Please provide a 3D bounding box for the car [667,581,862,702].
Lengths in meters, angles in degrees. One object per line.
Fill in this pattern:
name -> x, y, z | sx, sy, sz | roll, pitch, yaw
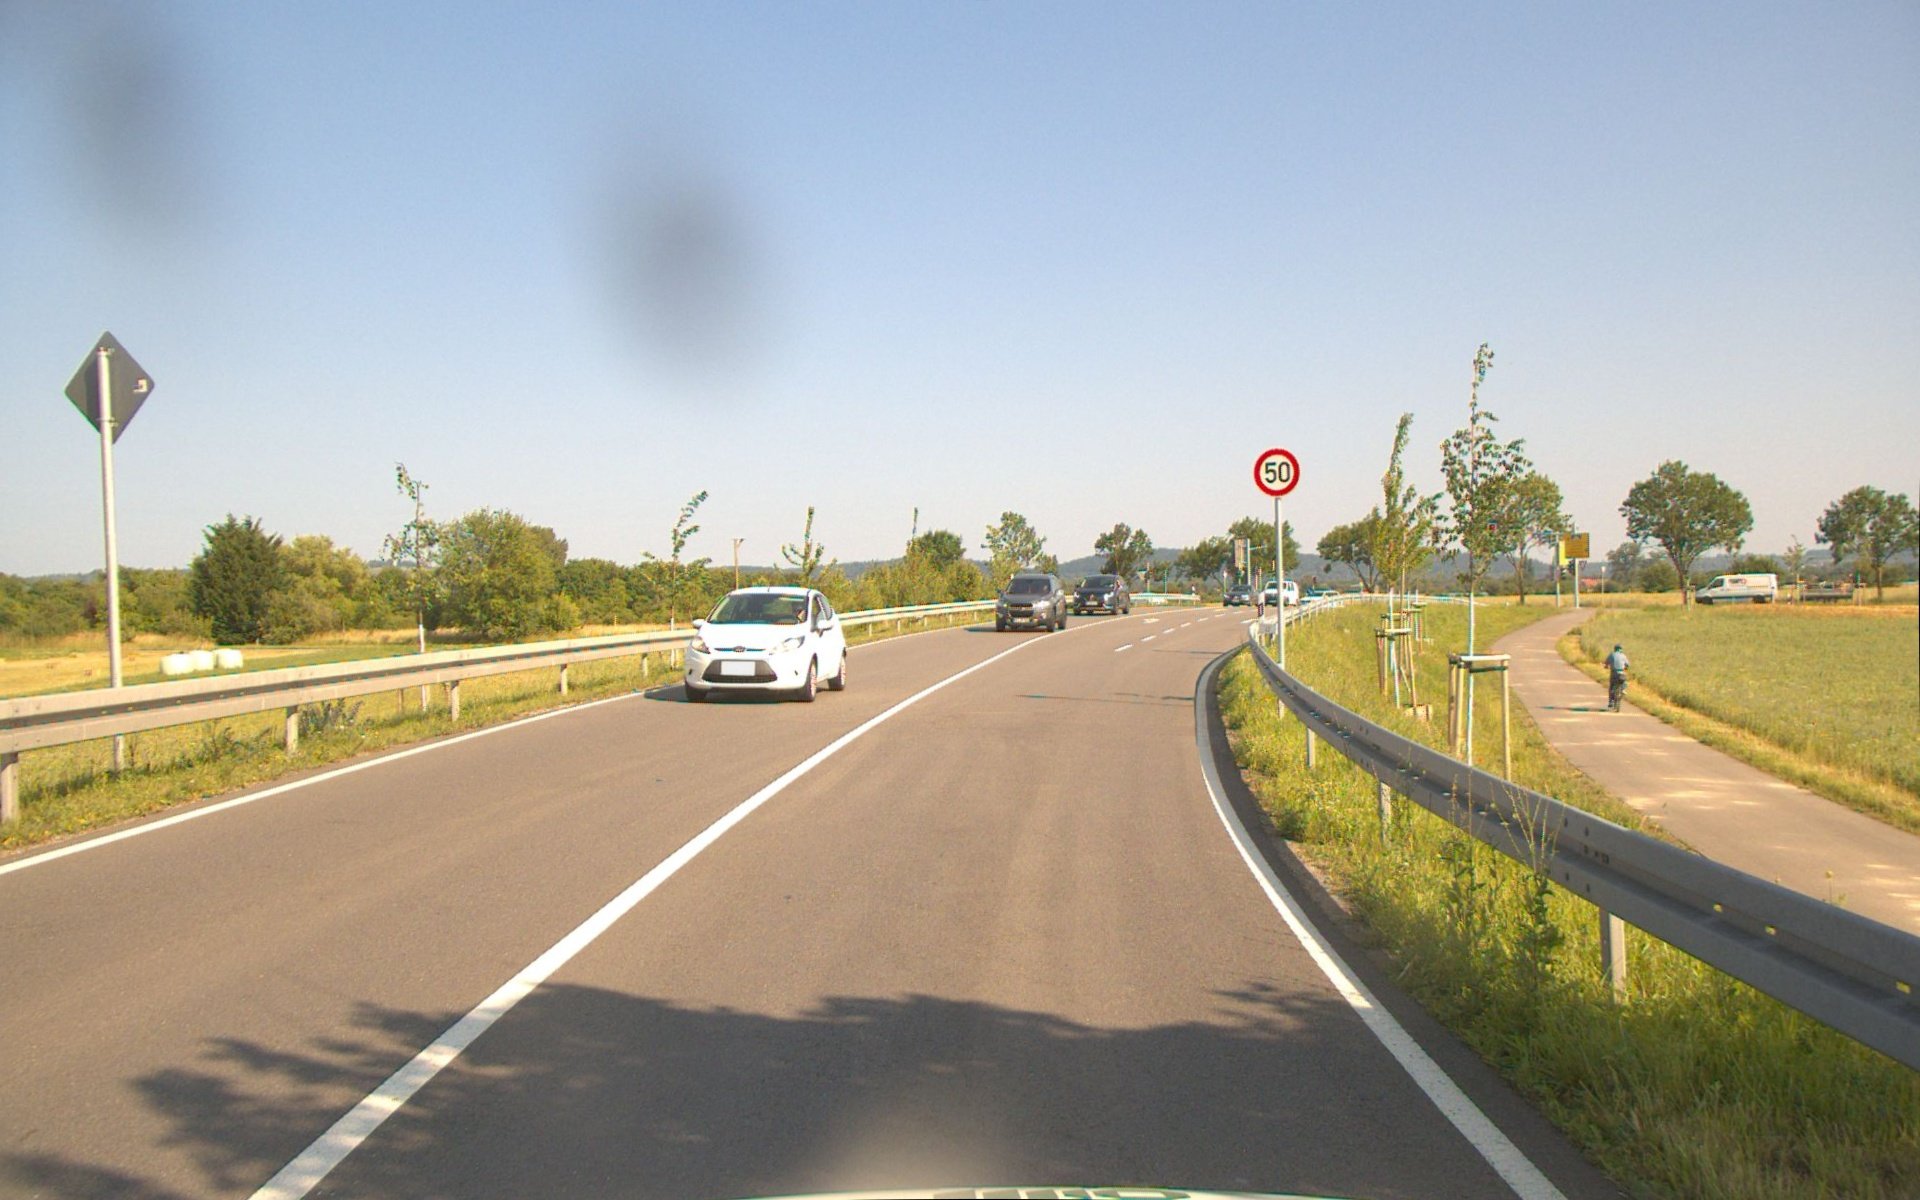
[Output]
car -> -2.555, 0.517, 22.604 | 1.814, 1.474, 4.156 | 1, 0, 5

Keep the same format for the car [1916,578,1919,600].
car -> 71.263, -0.769, 118.493 | 4.777, 1.536, 1.996 | 0, -1, 30

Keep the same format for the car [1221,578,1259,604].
car -> 18.499, -0.610, 109.130 | 1.757, 1.473, 4.708 | 1, 3, 19

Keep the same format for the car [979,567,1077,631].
car -> 2.200, 0.004, 51.715 | 1.842, 1.829, 5.094 | 0, -2, 17

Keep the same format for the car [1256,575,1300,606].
car -> 23.498, -0.743, 122.154 | 2.073, 2.048, 5.152 | 1, 3, 24

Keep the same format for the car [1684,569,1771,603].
car -> 58.514, -1.074, 126.113 | 5.850, 2.536, 1.995 | 0, -1, 33

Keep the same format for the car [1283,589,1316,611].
car -> 26.988, -0.032, 131.356 | 2.070, 1.519, 5.157 | 1, 3, 17

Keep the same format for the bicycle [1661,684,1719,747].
bicycle -> 14.232, 2.236, 32.286 | 0.741, 1.052, 1.931 | 0, 1, 15

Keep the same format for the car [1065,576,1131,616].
car -> 5.966, -0.195, 70.898 | 1.951, 1.620, 4.867 | 1, 1, 15

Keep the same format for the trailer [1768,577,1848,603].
trailer -> 63.147, -0.753, 123.178 | 5.166, 1.784, 1.948 | -1, -1, 33
